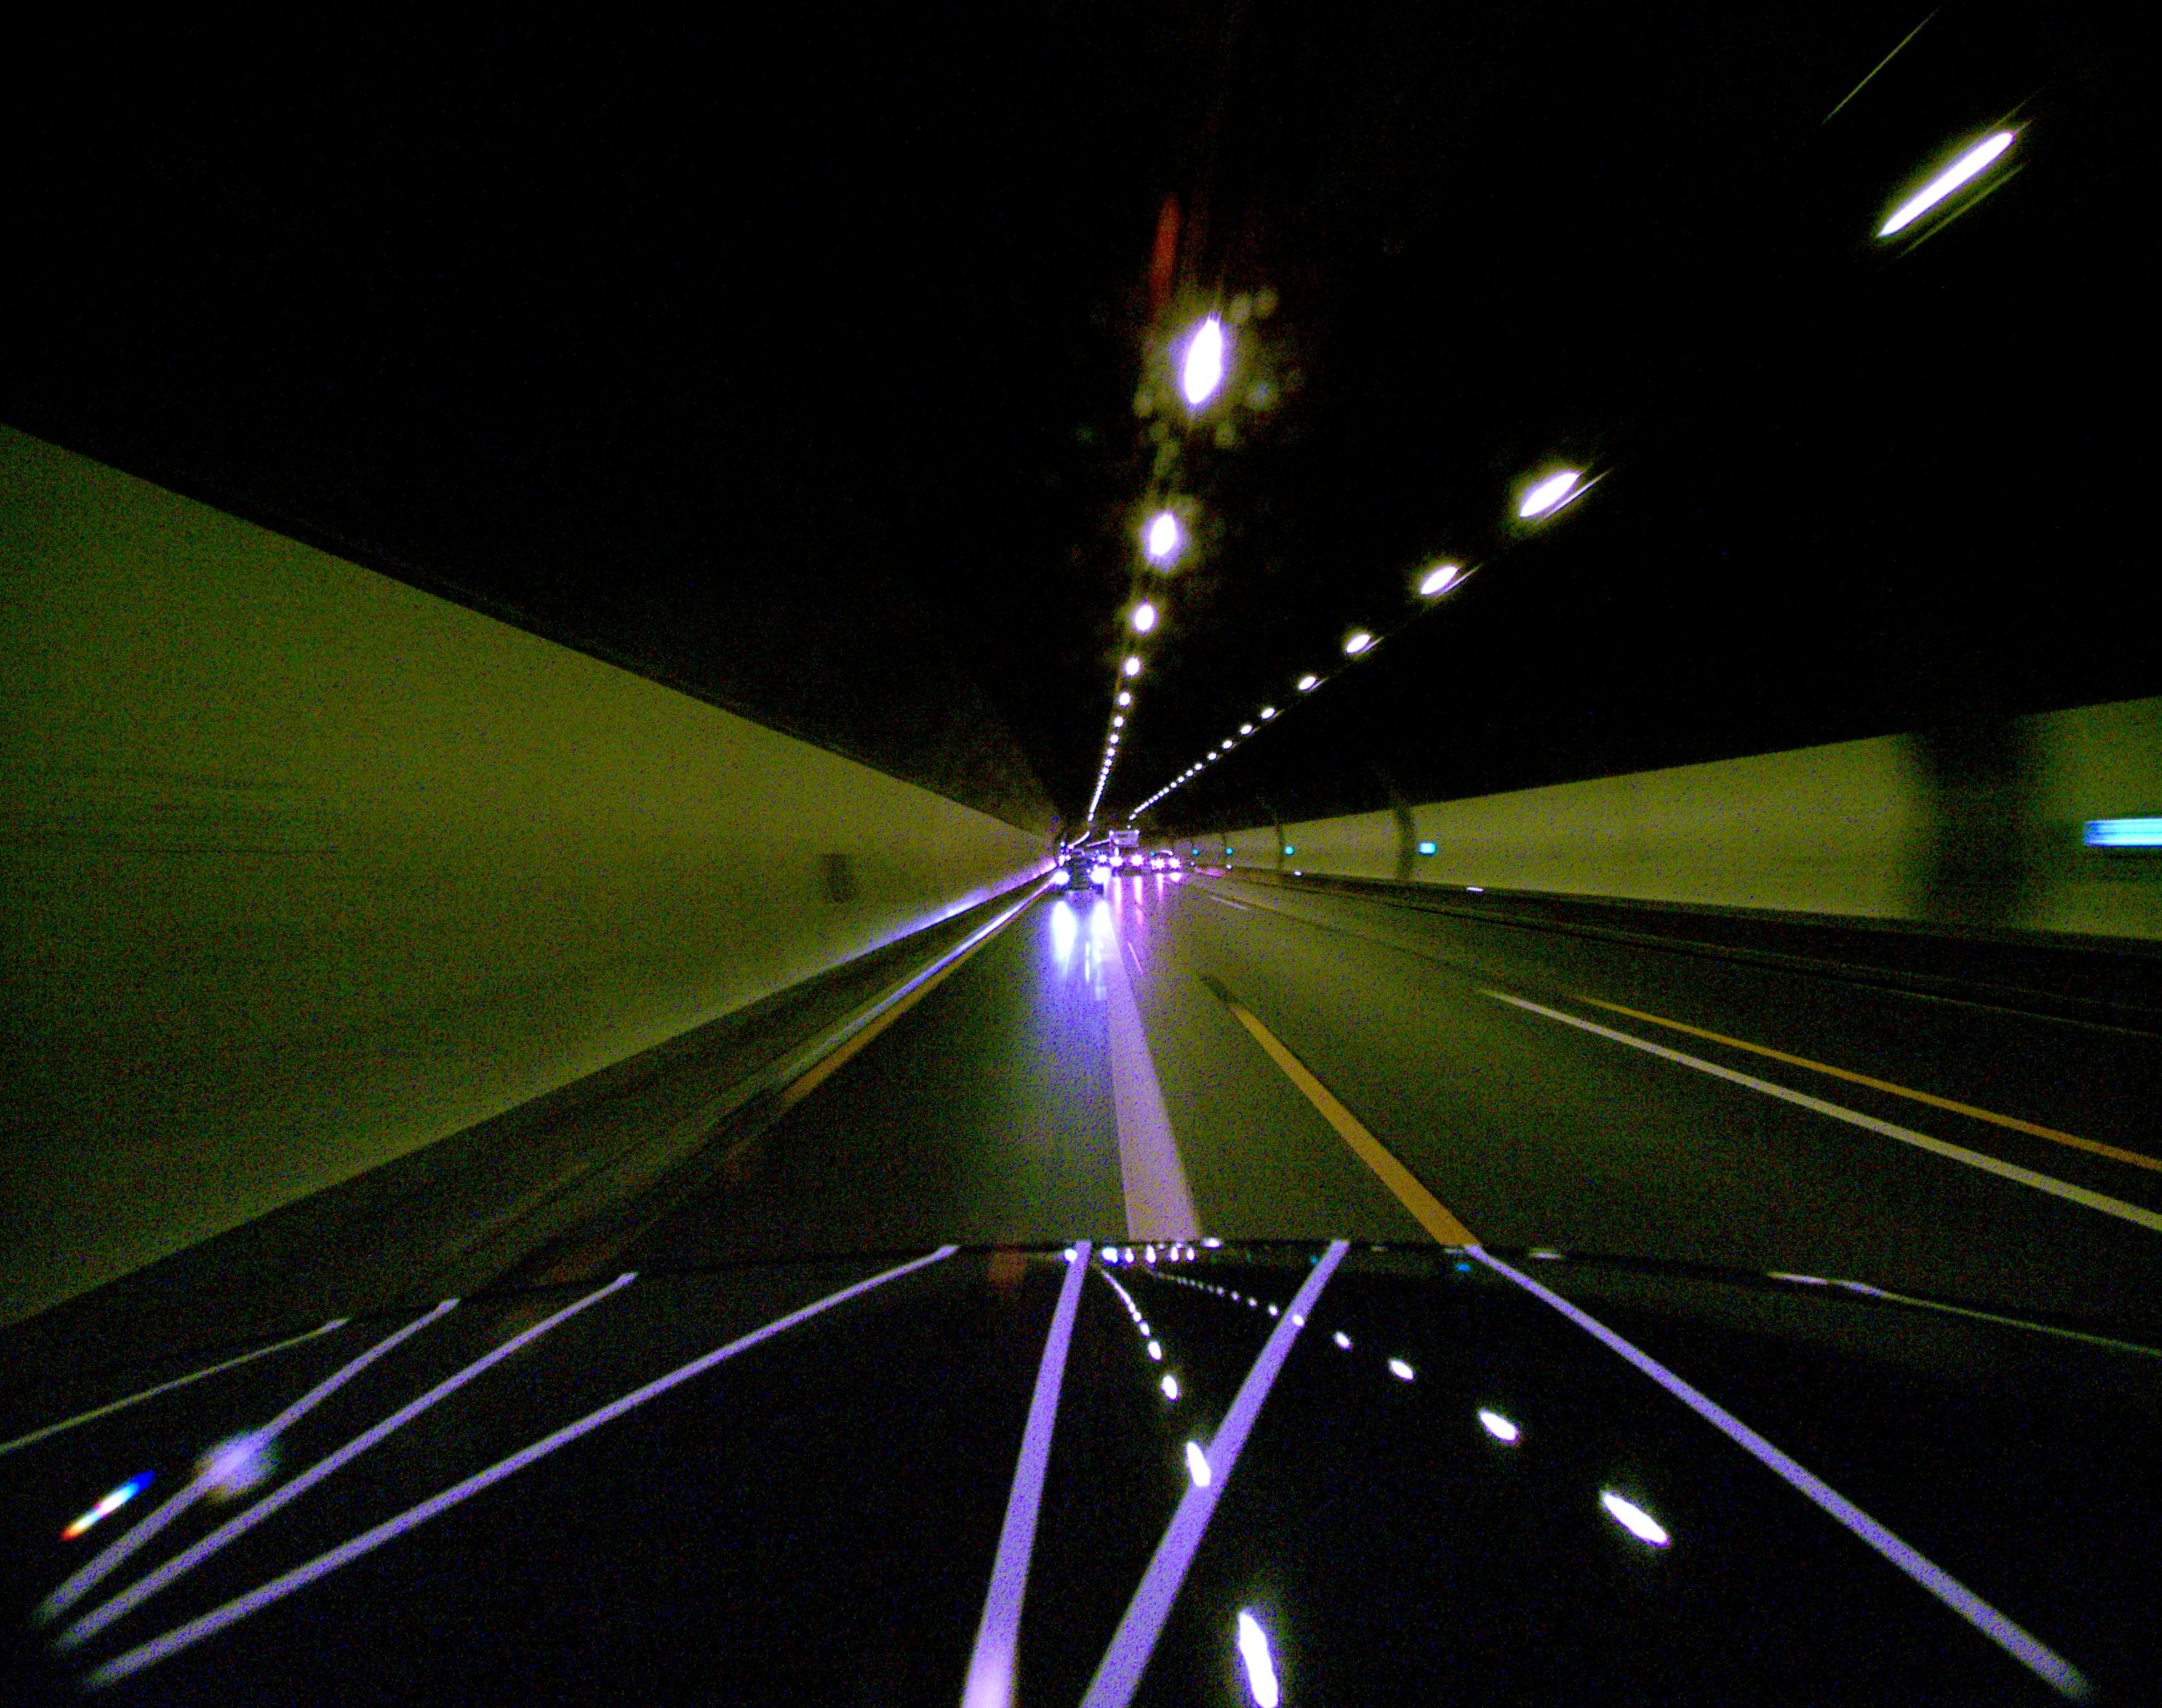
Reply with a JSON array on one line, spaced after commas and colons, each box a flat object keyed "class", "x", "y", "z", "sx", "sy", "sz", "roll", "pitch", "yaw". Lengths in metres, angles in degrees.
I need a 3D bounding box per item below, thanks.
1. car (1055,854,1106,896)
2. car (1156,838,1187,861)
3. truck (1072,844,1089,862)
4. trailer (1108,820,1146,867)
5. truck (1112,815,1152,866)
[{"class": "car", "x": 0.026, "y": 0.804, "z": 31.191, "sx": 1.727, "sy": 1.474, "sz": 4.001, "roll": -3, "pitch": 1, "yaw": 4}, {"class": "car", "x": 6.765, "y": -0.396, "z": 57.403, "sx": 1.766, "sy": 1.563, "sz": 4.096, "roll": -4, "pitch": 1, "yaw": 0}, {"class": "truck", "x": -0.016, "y": -0.090, "z": 118.541, "sx": 2.151, "sy": 2.609, "sz": 9.909, "roll": -4, "pitch": -1, "yaw": 2}, {"class": "trailer", "x": 3.586, "y": -0.848, "z": 61.646, "sx": 2.374, "sy": 3.328, "sz": 12.077, "roll": -2, "pitch": 1, "yaw": 1}, {"class": "truck", "x": 3.596, "y": -0.988, "z": 54.973, "sx": 2.374, "sy": 3.328, "sz": 4.718, "roll": -6, "pitch": 1, "yaw": 1}]
